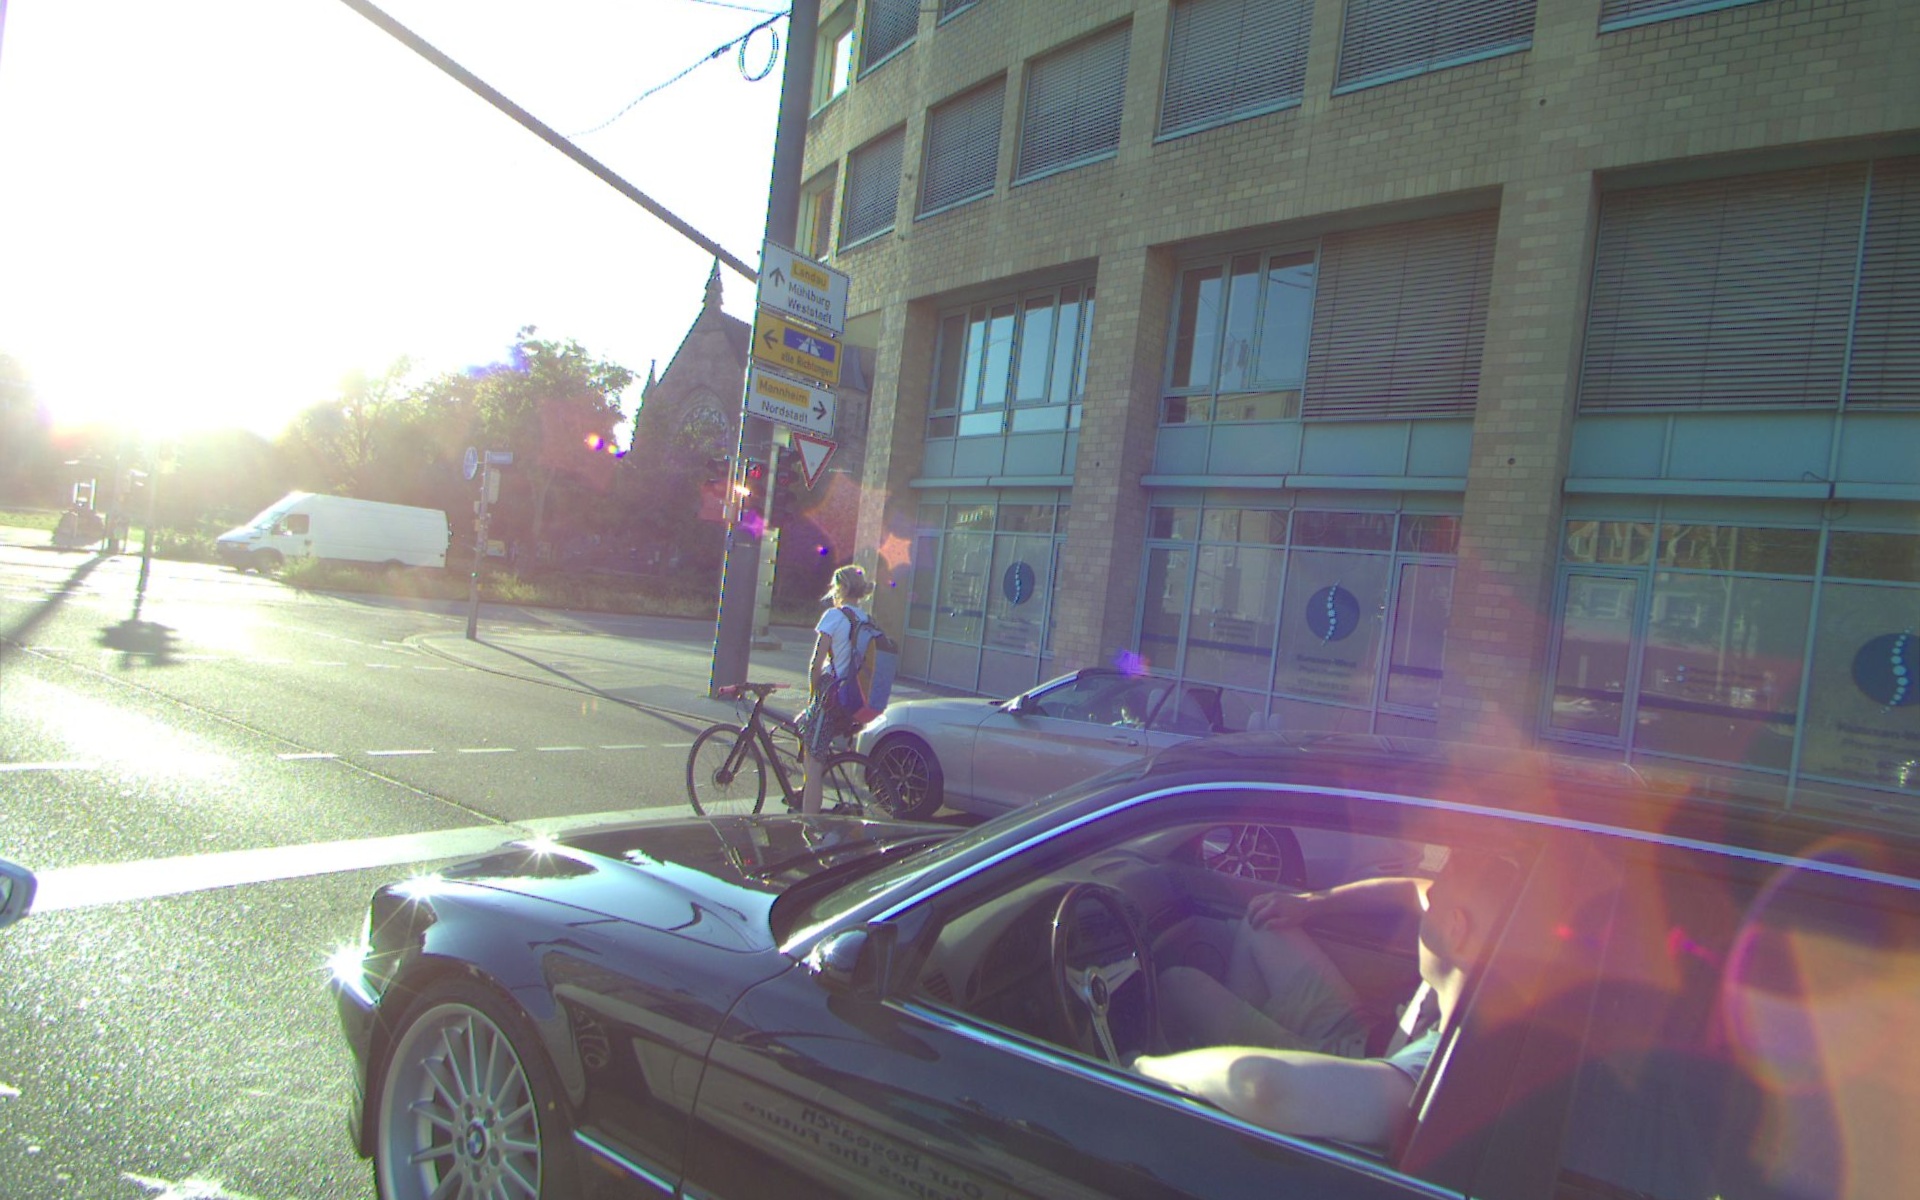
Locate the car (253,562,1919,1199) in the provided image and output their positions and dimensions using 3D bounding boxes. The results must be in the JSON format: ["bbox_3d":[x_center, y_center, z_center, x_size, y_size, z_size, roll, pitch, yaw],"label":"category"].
[{"bbox_3d":[0.884,0.933,2.005,4.661,1.402,1.997,7,-1,32],"label":"car"}]

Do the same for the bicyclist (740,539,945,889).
[{"bbox_3d":[-0.682,0.628,5.894,0.764,1.843,0.634,7,1,30],"label":"bicyclist"}]

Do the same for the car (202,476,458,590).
[{"bbox_3d":[-21.279,-2.175,34.461,2.059,2.862,7.017,7,0,33],"label":"car"}]

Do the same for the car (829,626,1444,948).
[{"bbox_3d":[1.244,1.196,7.678,4.157,1.401,1.747,7,-1,31],"label":"car"}]

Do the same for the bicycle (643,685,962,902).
[{"bbox_3d":[-0.980,1.088,6.069,1.838,0.884,0.634,7,0,30],"label":"bicycle"}]
